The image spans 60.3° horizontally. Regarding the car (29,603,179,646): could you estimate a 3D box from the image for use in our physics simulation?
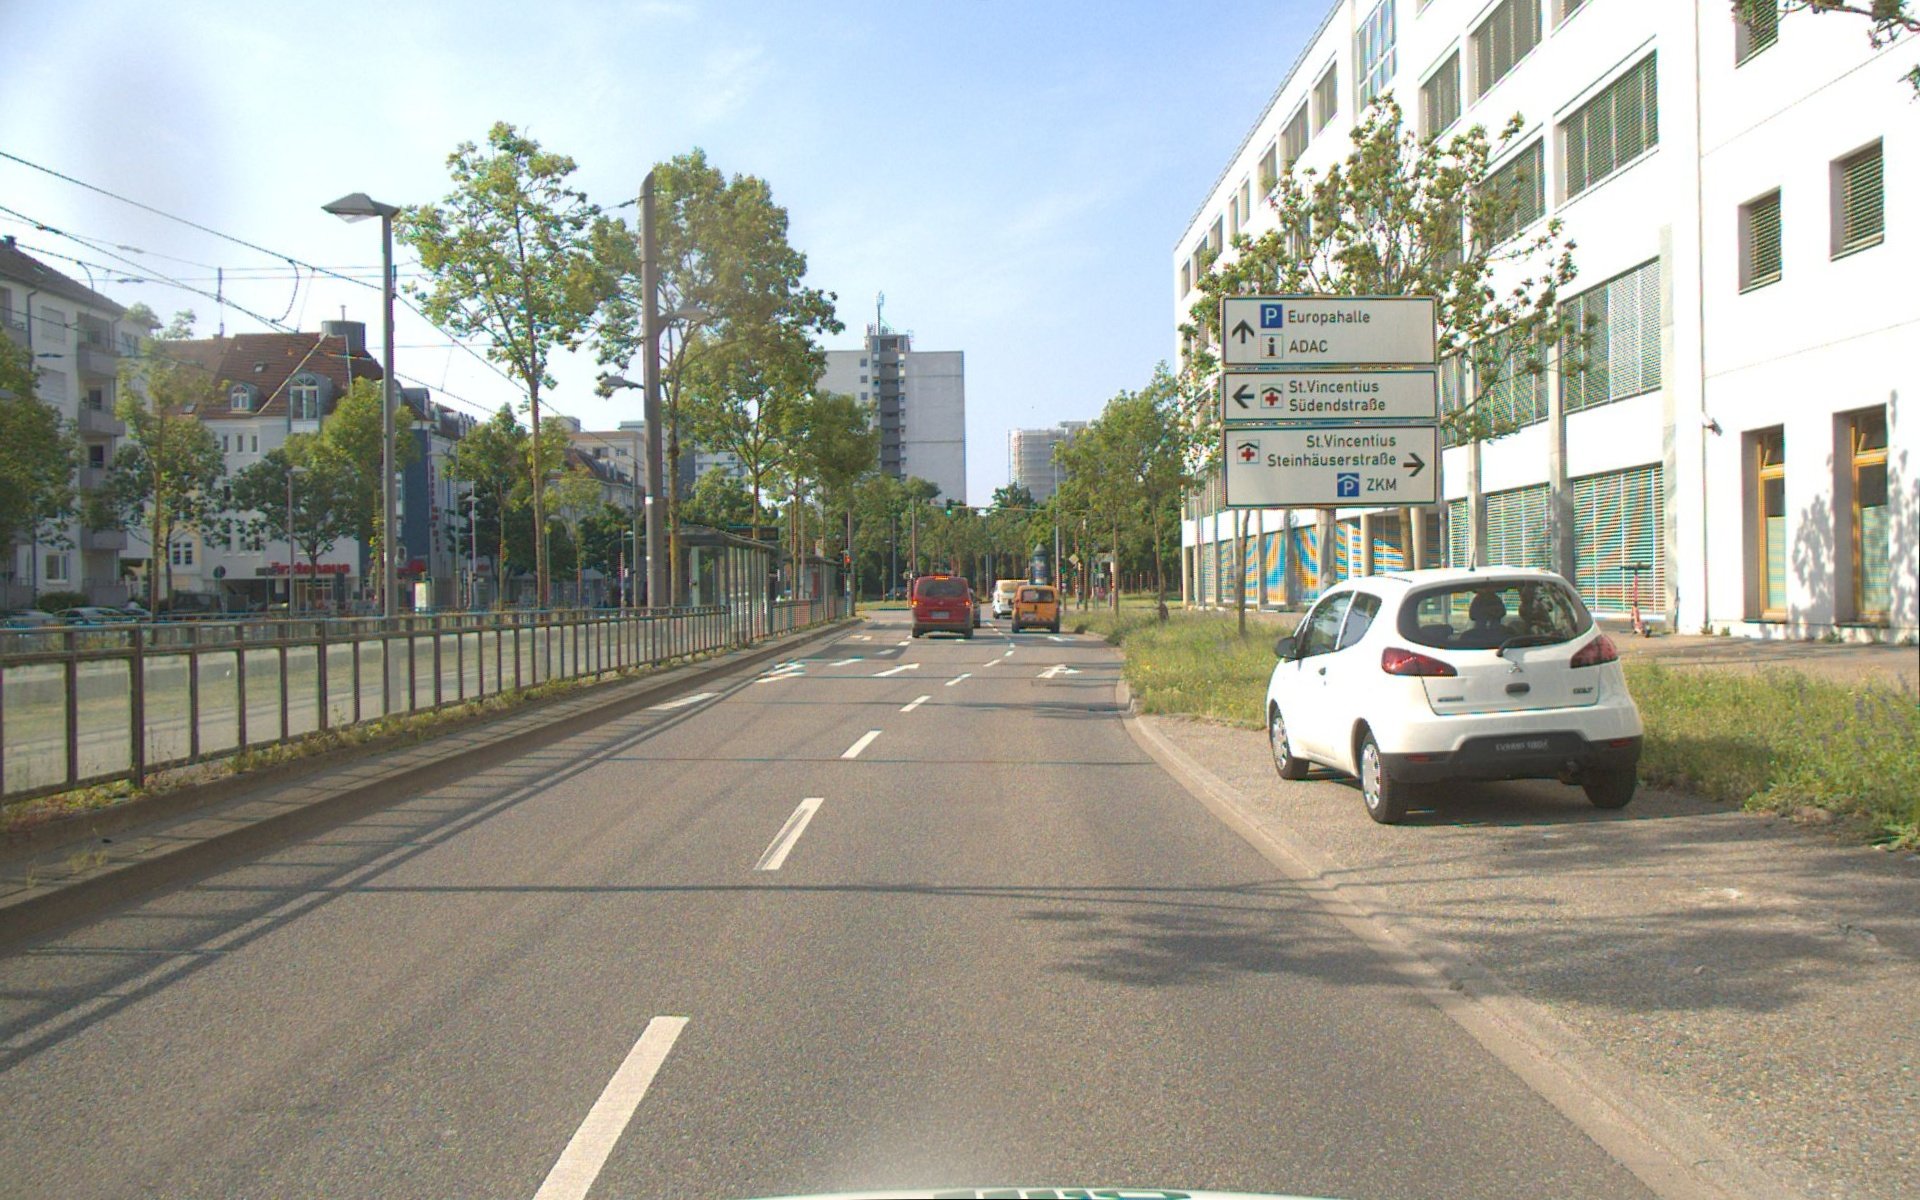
[{"bbox_3d":[-27.016,0.772,52.234,3.902,1.266,1.941,-1,0,15],"label":"car"}]

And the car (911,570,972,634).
[{"bbox_3d":[-0.620,0.043,52.063,1.836,1.886,3.999,-1,0,-2],"label":"car"}]

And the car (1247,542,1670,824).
[{"bbox_3d":[3.276,0.470,11.667,1.655,1.552,3.849,-4,1,-2],"label":"car"}]

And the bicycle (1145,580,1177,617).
[{"bbox_3d":[5.694,-0.052,46.945,0.605,1.035,1.879,-1,0,-2],"label":"bicycle"}]

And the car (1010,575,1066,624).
[{"bbox_3d":[2.835,-0.025,60.573,1.837,1.726,3.973,-1,0,0],"label":"car"}]

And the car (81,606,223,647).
[{"bbox_3d":[-26.745,0.884,54.765,3.902,1.266,1.941,-1,0,15],"label":"car"}]

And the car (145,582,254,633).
[{"bbox_3d":[-32.619,0.303,71.105,2.318,2.066,5.310,0,0,-1],"label":"car"}]

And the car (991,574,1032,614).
[{"bbox_3d":[2.668,-0.311,86.177,1.953,2.049,3.999,0,0,-1],"label":"car"}]

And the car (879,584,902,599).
[{"bbox_3d":[-7.857,-0.937,186.426,1.835,1.601,4.003,-1,0,8],"label":"car"}]

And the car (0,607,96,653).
[{"bbox_3d":[-27.506,0.872,48.739,3.912,1.266,1.829,-1,0,30],"label":"car"}]

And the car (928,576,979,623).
[{"bbox_3d":[-0.270,-0.039,67.339,1.953,1.735,4.000,-3,0,-1],"label":"car"}]

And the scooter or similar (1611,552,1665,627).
[{"bbox_3d":[11.544,-0.180,28.174,0.452,1.234,1.255,-3,1,5],"label":"scooter or similar"}]
